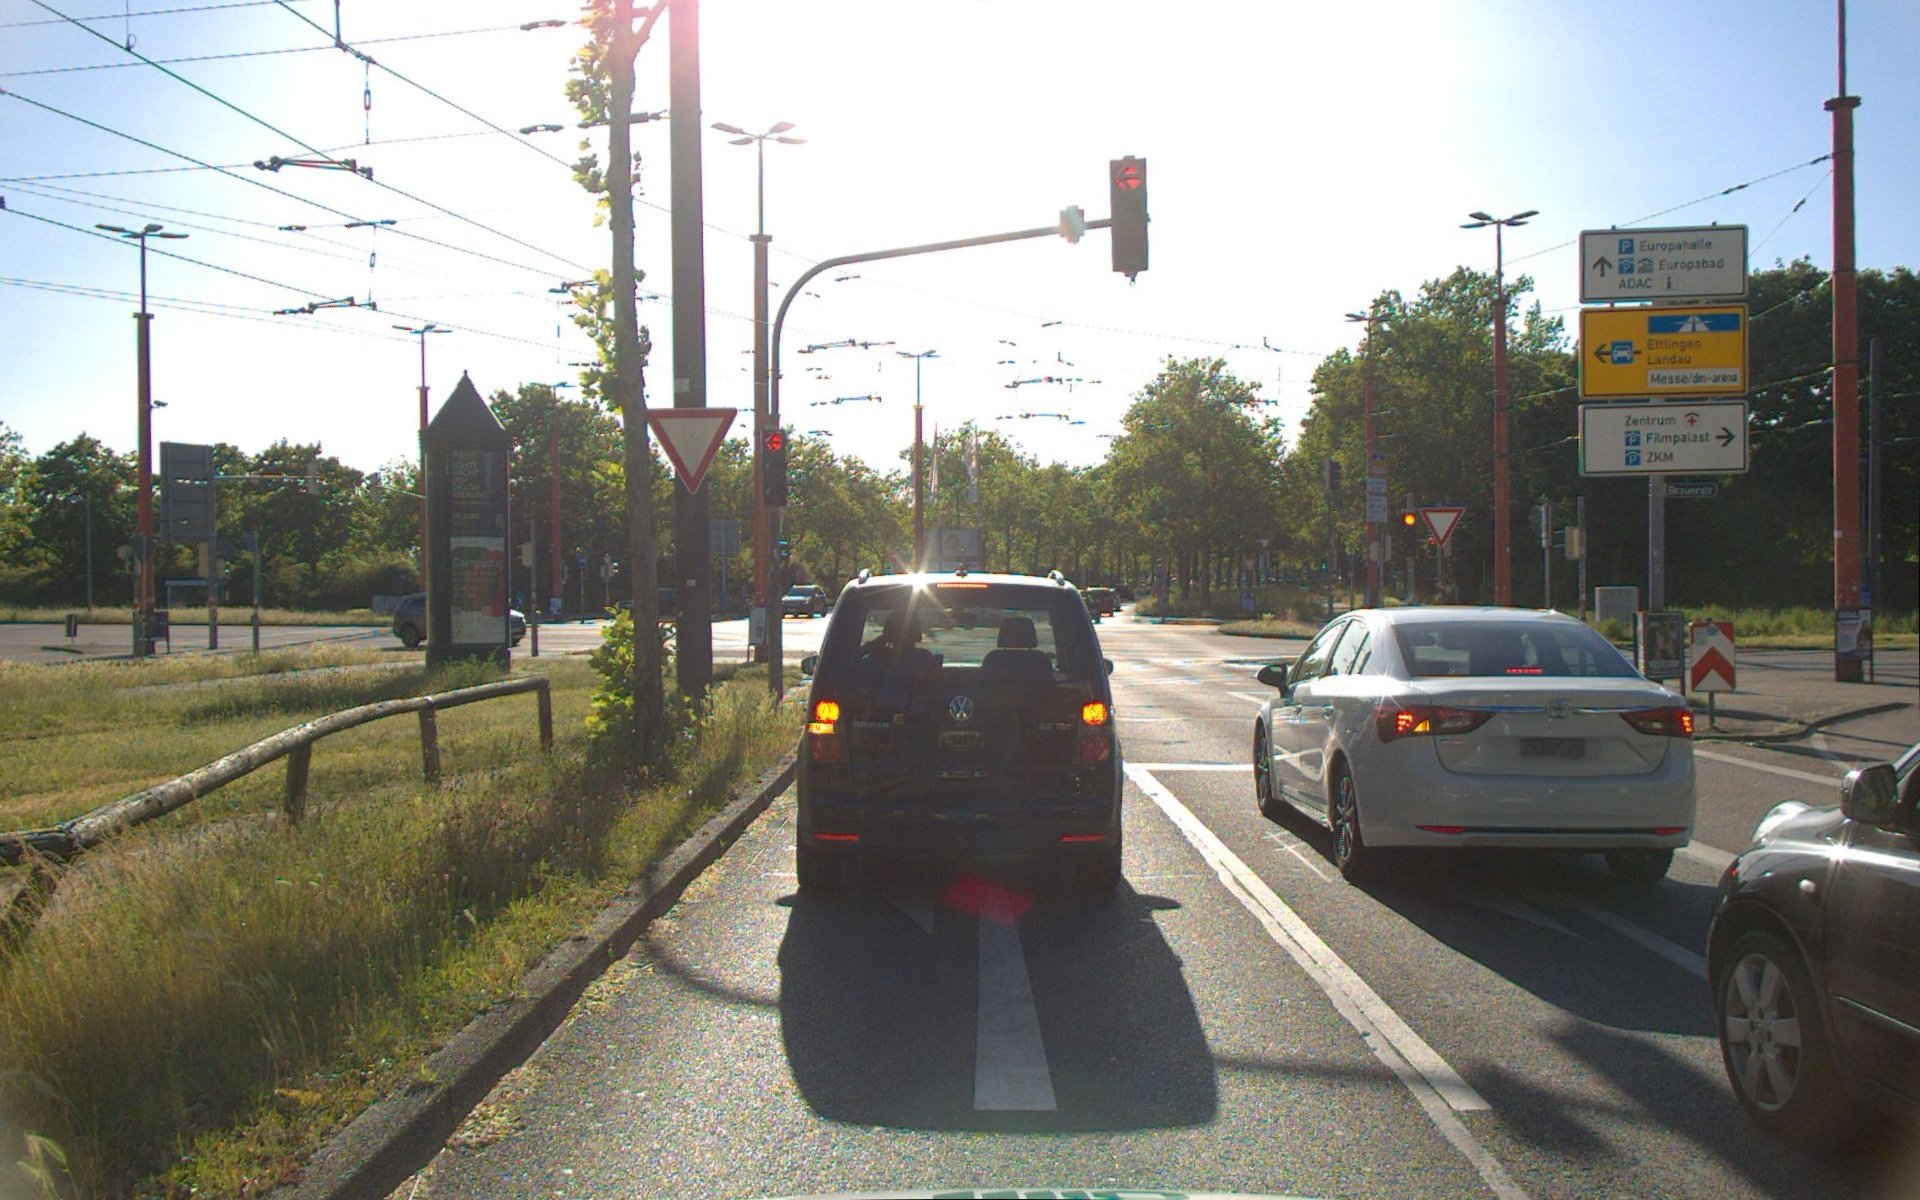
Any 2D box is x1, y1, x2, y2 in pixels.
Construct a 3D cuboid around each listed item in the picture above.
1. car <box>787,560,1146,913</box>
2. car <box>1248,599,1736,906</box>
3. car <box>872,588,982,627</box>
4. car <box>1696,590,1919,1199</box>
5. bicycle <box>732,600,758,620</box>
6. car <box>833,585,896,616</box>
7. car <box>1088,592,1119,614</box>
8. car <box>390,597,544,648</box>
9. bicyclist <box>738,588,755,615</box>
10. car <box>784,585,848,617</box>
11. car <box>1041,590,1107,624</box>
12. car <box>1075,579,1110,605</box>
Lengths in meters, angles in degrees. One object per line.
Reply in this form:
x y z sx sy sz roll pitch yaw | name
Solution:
0.005 0.642 9.863 1.702 1.670 3.999 0 0 -1 | car
2.946 0.738 10.108 1.679 1.480 4.144 0 0 0 | car
-1.256 0.273 64.447 1.882 1.489 4.211 0 0 44 | car
3.125 0.741 3.508 1.525 1.532 3.515 0 0 -1 | car
-12.231 0.563 94.219 0.719 1.109 1.962 0 0 18 | bicycle
-5.271 0.020 91.570 1.951 1.714 4.831 0 0 17 | car
9.806 0.179 113.002 1.867 1.489 4.226 0 0 8 | car
-15.802 0.695 53.007 4.539 1.570 1.999 0 0 24 | car
-12.200 0.088 94.439 0.678 1.483 0.875 0 0 17 | bicyclist
-8.059 0.055 93.066 1.951 1.714 4.831 0 0 17 | car
5.202 0.304 75.068 1.869 1.489 4.056 0 0 22 | car
7.727 -0.486 96.677 1.868 1.489 4.376 0 1 2 | car
